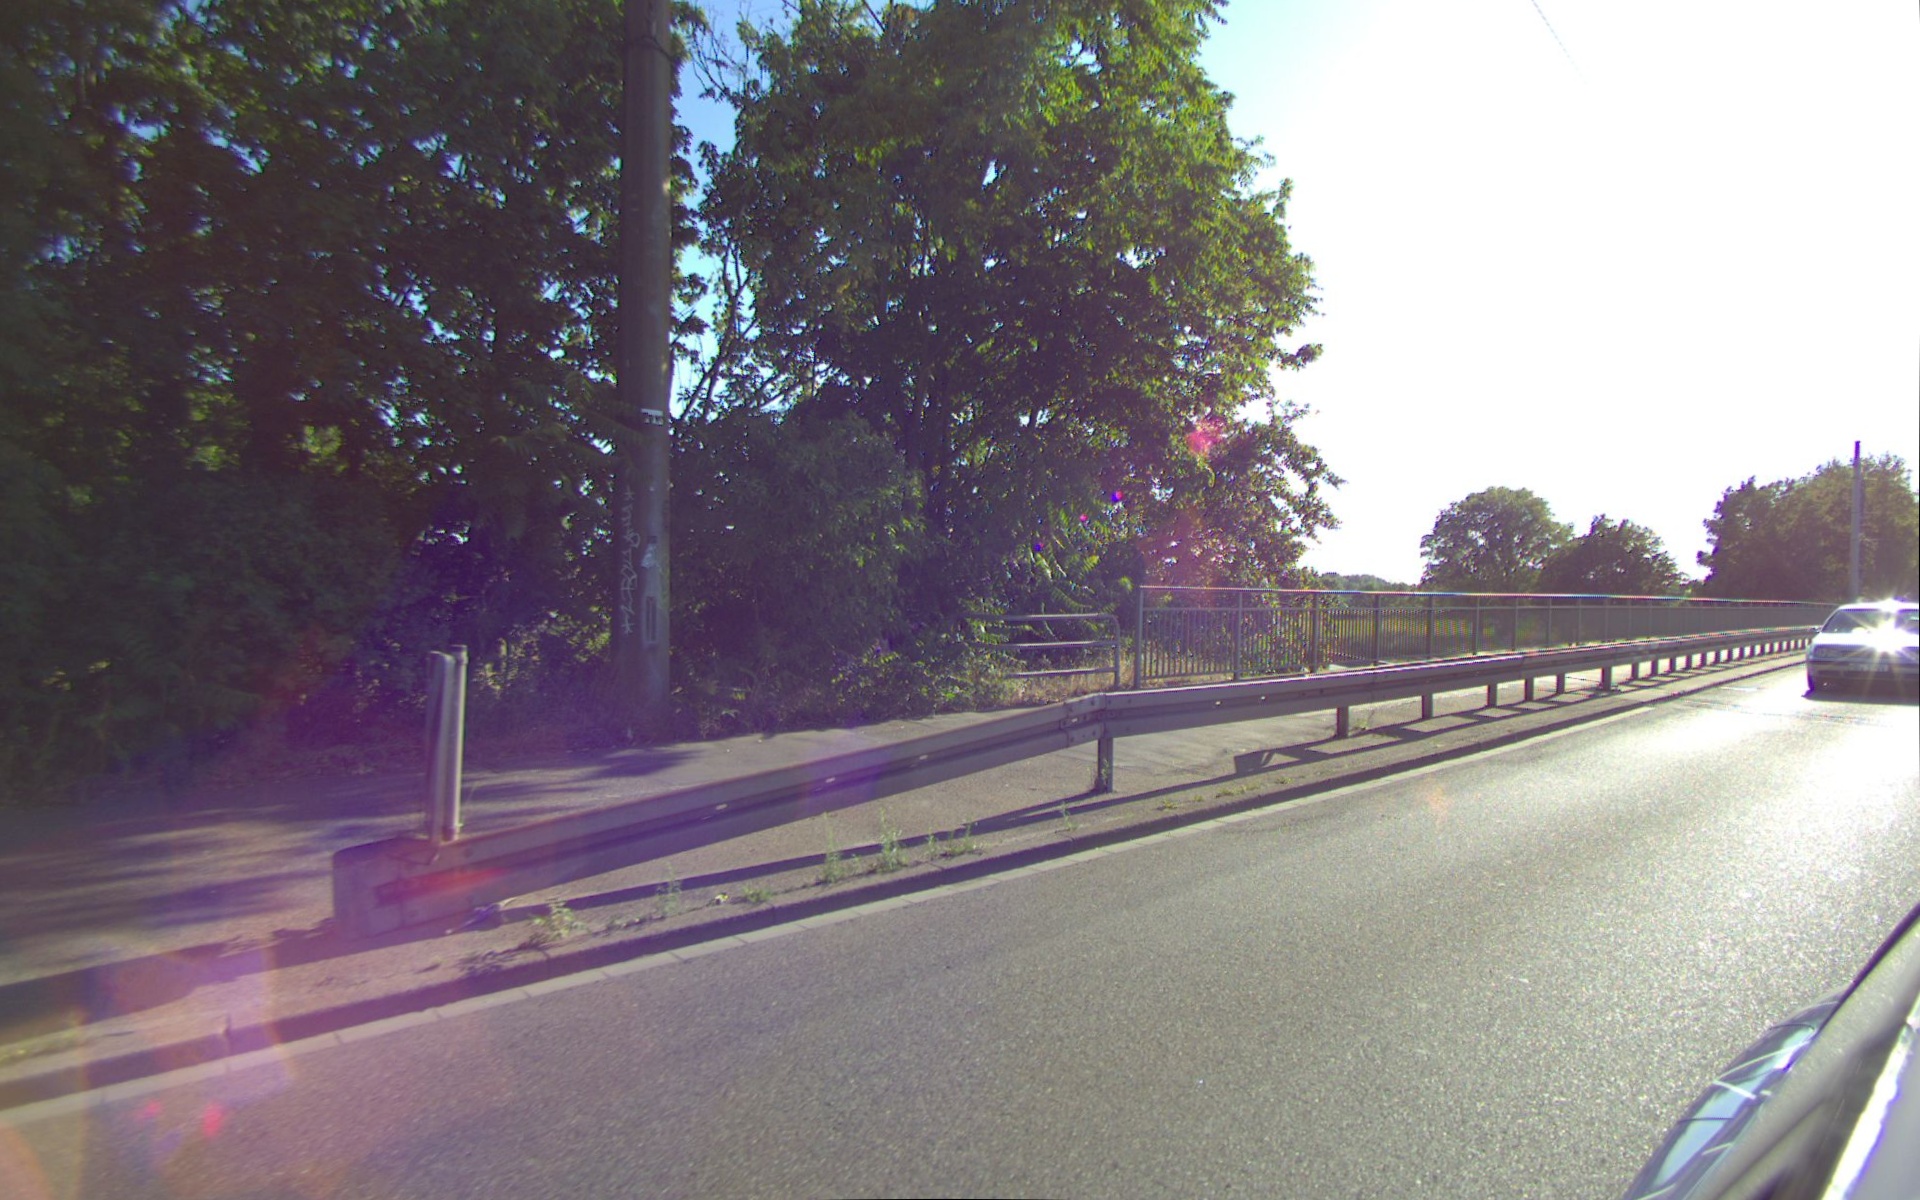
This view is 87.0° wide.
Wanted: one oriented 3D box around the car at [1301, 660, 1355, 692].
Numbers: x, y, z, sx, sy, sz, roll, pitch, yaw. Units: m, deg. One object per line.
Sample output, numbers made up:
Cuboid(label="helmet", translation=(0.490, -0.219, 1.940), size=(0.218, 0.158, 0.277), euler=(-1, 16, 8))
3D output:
Cuboid(label="car", translation=(30.007, 6.176, 82.697), size=(1.953, 1.989, 4.825), euler=(0, 3, -10))

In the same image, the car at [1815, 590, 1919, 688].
Cuboid(label="car", translation=(15.599, 0.569, 16.736), size=(4.064, 1.435, 1.691), euler=(-1, 0, -42))
